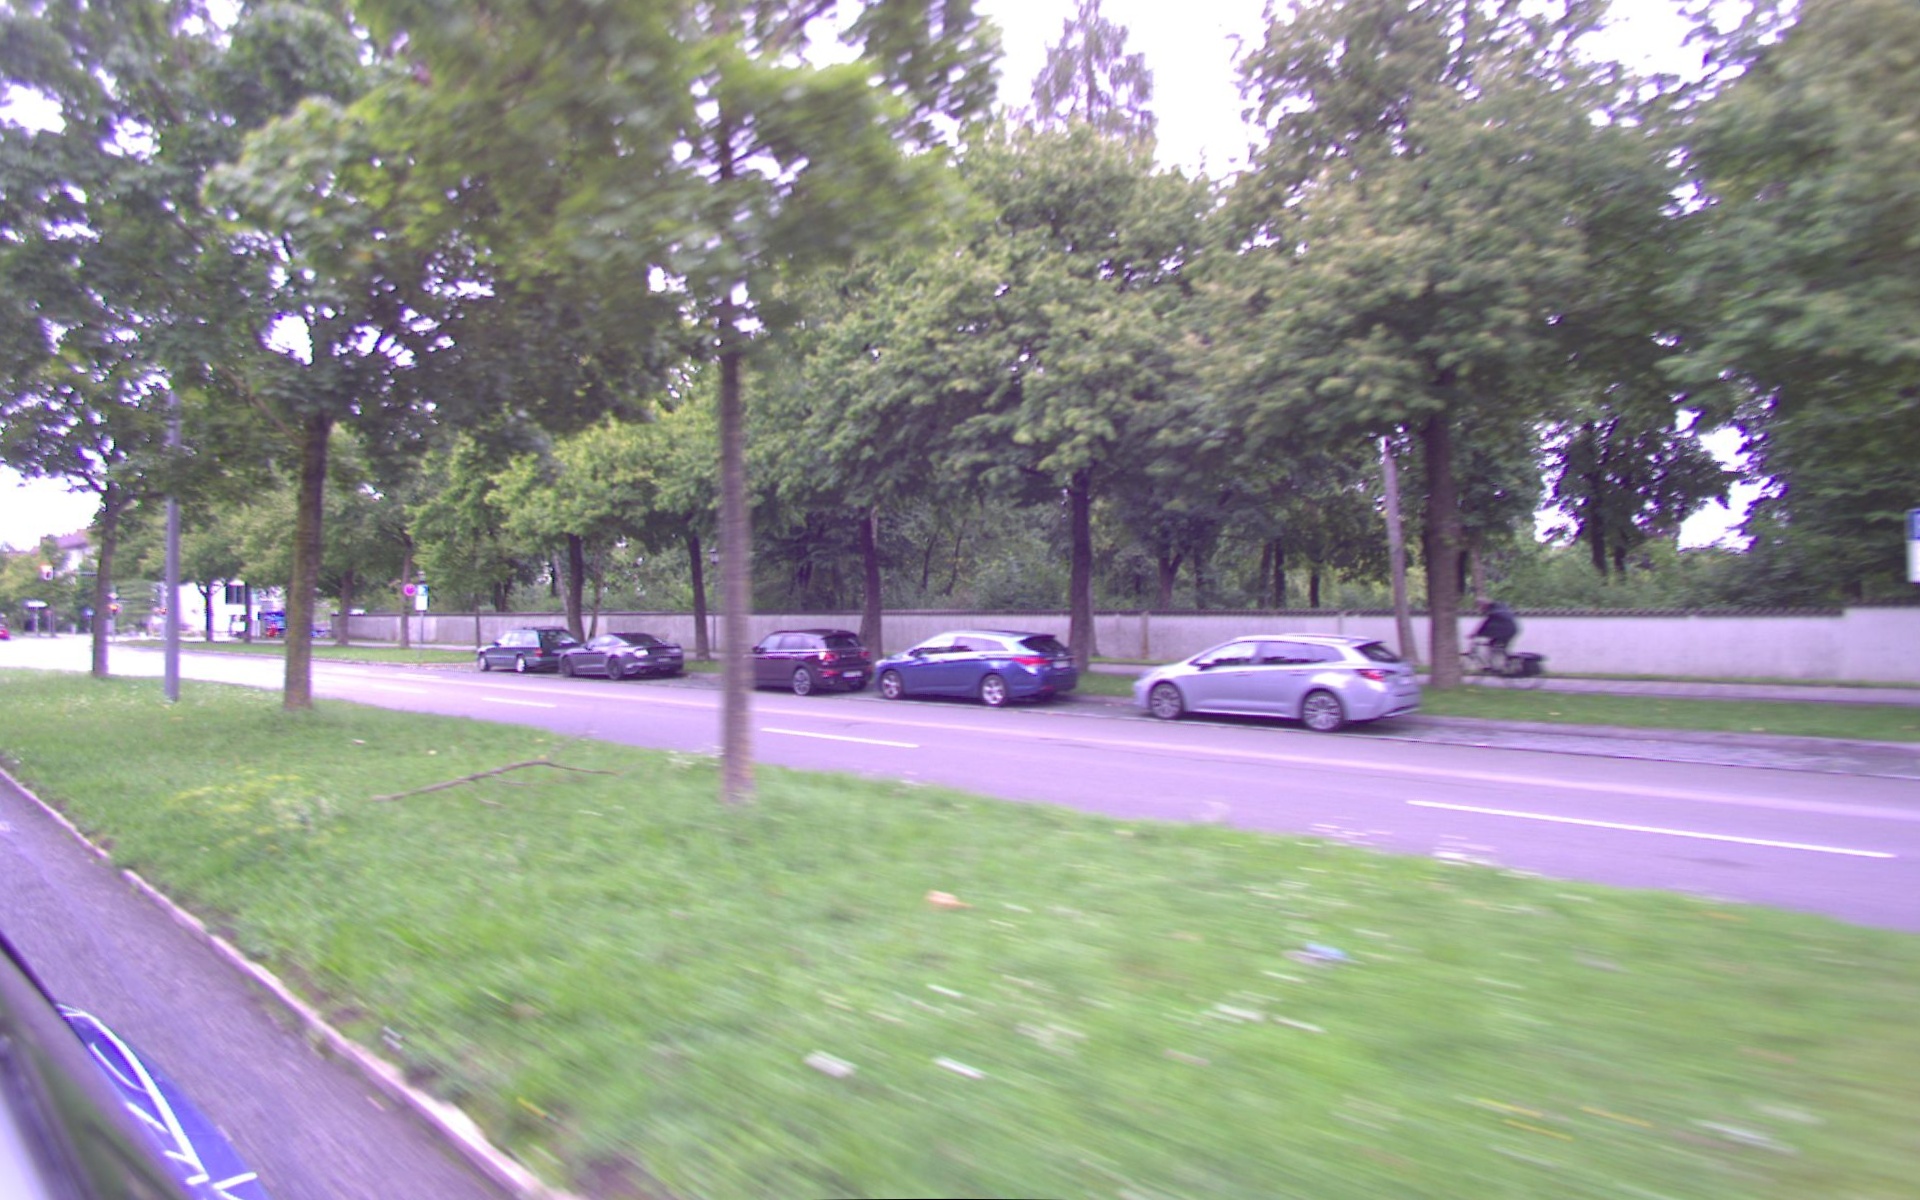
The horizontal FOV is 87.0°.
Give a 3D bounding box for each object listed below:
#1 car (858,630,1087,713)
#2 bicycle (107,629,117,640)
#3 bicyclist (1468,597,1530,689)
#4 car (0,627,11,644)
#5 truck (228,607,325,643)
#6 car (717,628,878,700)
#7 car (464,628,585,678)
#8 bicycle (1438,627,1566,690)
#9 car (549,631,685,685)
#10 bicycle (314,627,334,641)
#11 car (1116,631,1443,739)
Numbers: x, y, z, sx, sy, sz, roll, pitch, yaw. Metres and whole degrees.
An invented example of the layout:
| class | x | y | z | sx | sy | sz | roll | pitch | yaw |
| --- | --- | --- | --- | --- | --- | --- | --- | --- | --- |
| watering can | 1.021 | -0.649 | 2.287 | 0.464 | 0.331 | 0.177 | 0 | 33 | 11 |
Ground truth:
| class | x | y | z | sx | sy | sz | roll | pitch | yaw |
| --- | --- | --- | --- | --- | --- | --- | --- | --- | --- |
| car | 0.141 | 1.374 | 20.764 | 4.795 | 1.470 | 1.570 | -1 | -1 | 40 |
| bicycle | -92.660 | 3.725 | 110.627 | 1.825 | 1.190 | 0.539 | -1 | -2 | 40 |
| bicyclist | 10.607 | 0.829 | 19.916 | 0.922 | 1.760 | 0.697 | -1 | -2 | 41 |
| car | -89.464 | 3.279 | 93.732 | 4.655 | 1.463 | 1.725 | -2 | -4 | 41 |
| truck | -69.317 | 2.568 | 102.747 | 2.771 | 3.515 | 7.715 | -2 | -2 | 42 |
| car | -3.948 | 1.442 | 24.061 | 1.553 | 1.514 | 4.305 | -1 | -1 | -45 |
| car | -14.610 | 1.708 | 33.838 | 4.912 | 1.501 | 1.780 | -1 | -1 | 41 |
| bicycle | 10.626 | 1.125 | 19.896 | 2.115 | 1.170 | 0.705 | -1 | -2 | 41 |
| car | -10.162 | 1.646 | 29.812 | 4.704 | 1.406 | 1.642 | -1 | -1 | 41 |
| bicycle | -57.427 | 3.047 | 91.335 | 2.494 | 1.195 | 0.827 | -1 | -2 | 40 |
| car | 5.023 | 1.259 | 16.433 | 4.808 | 1.450 | 1.618 | -1 | -1 | 42 |
